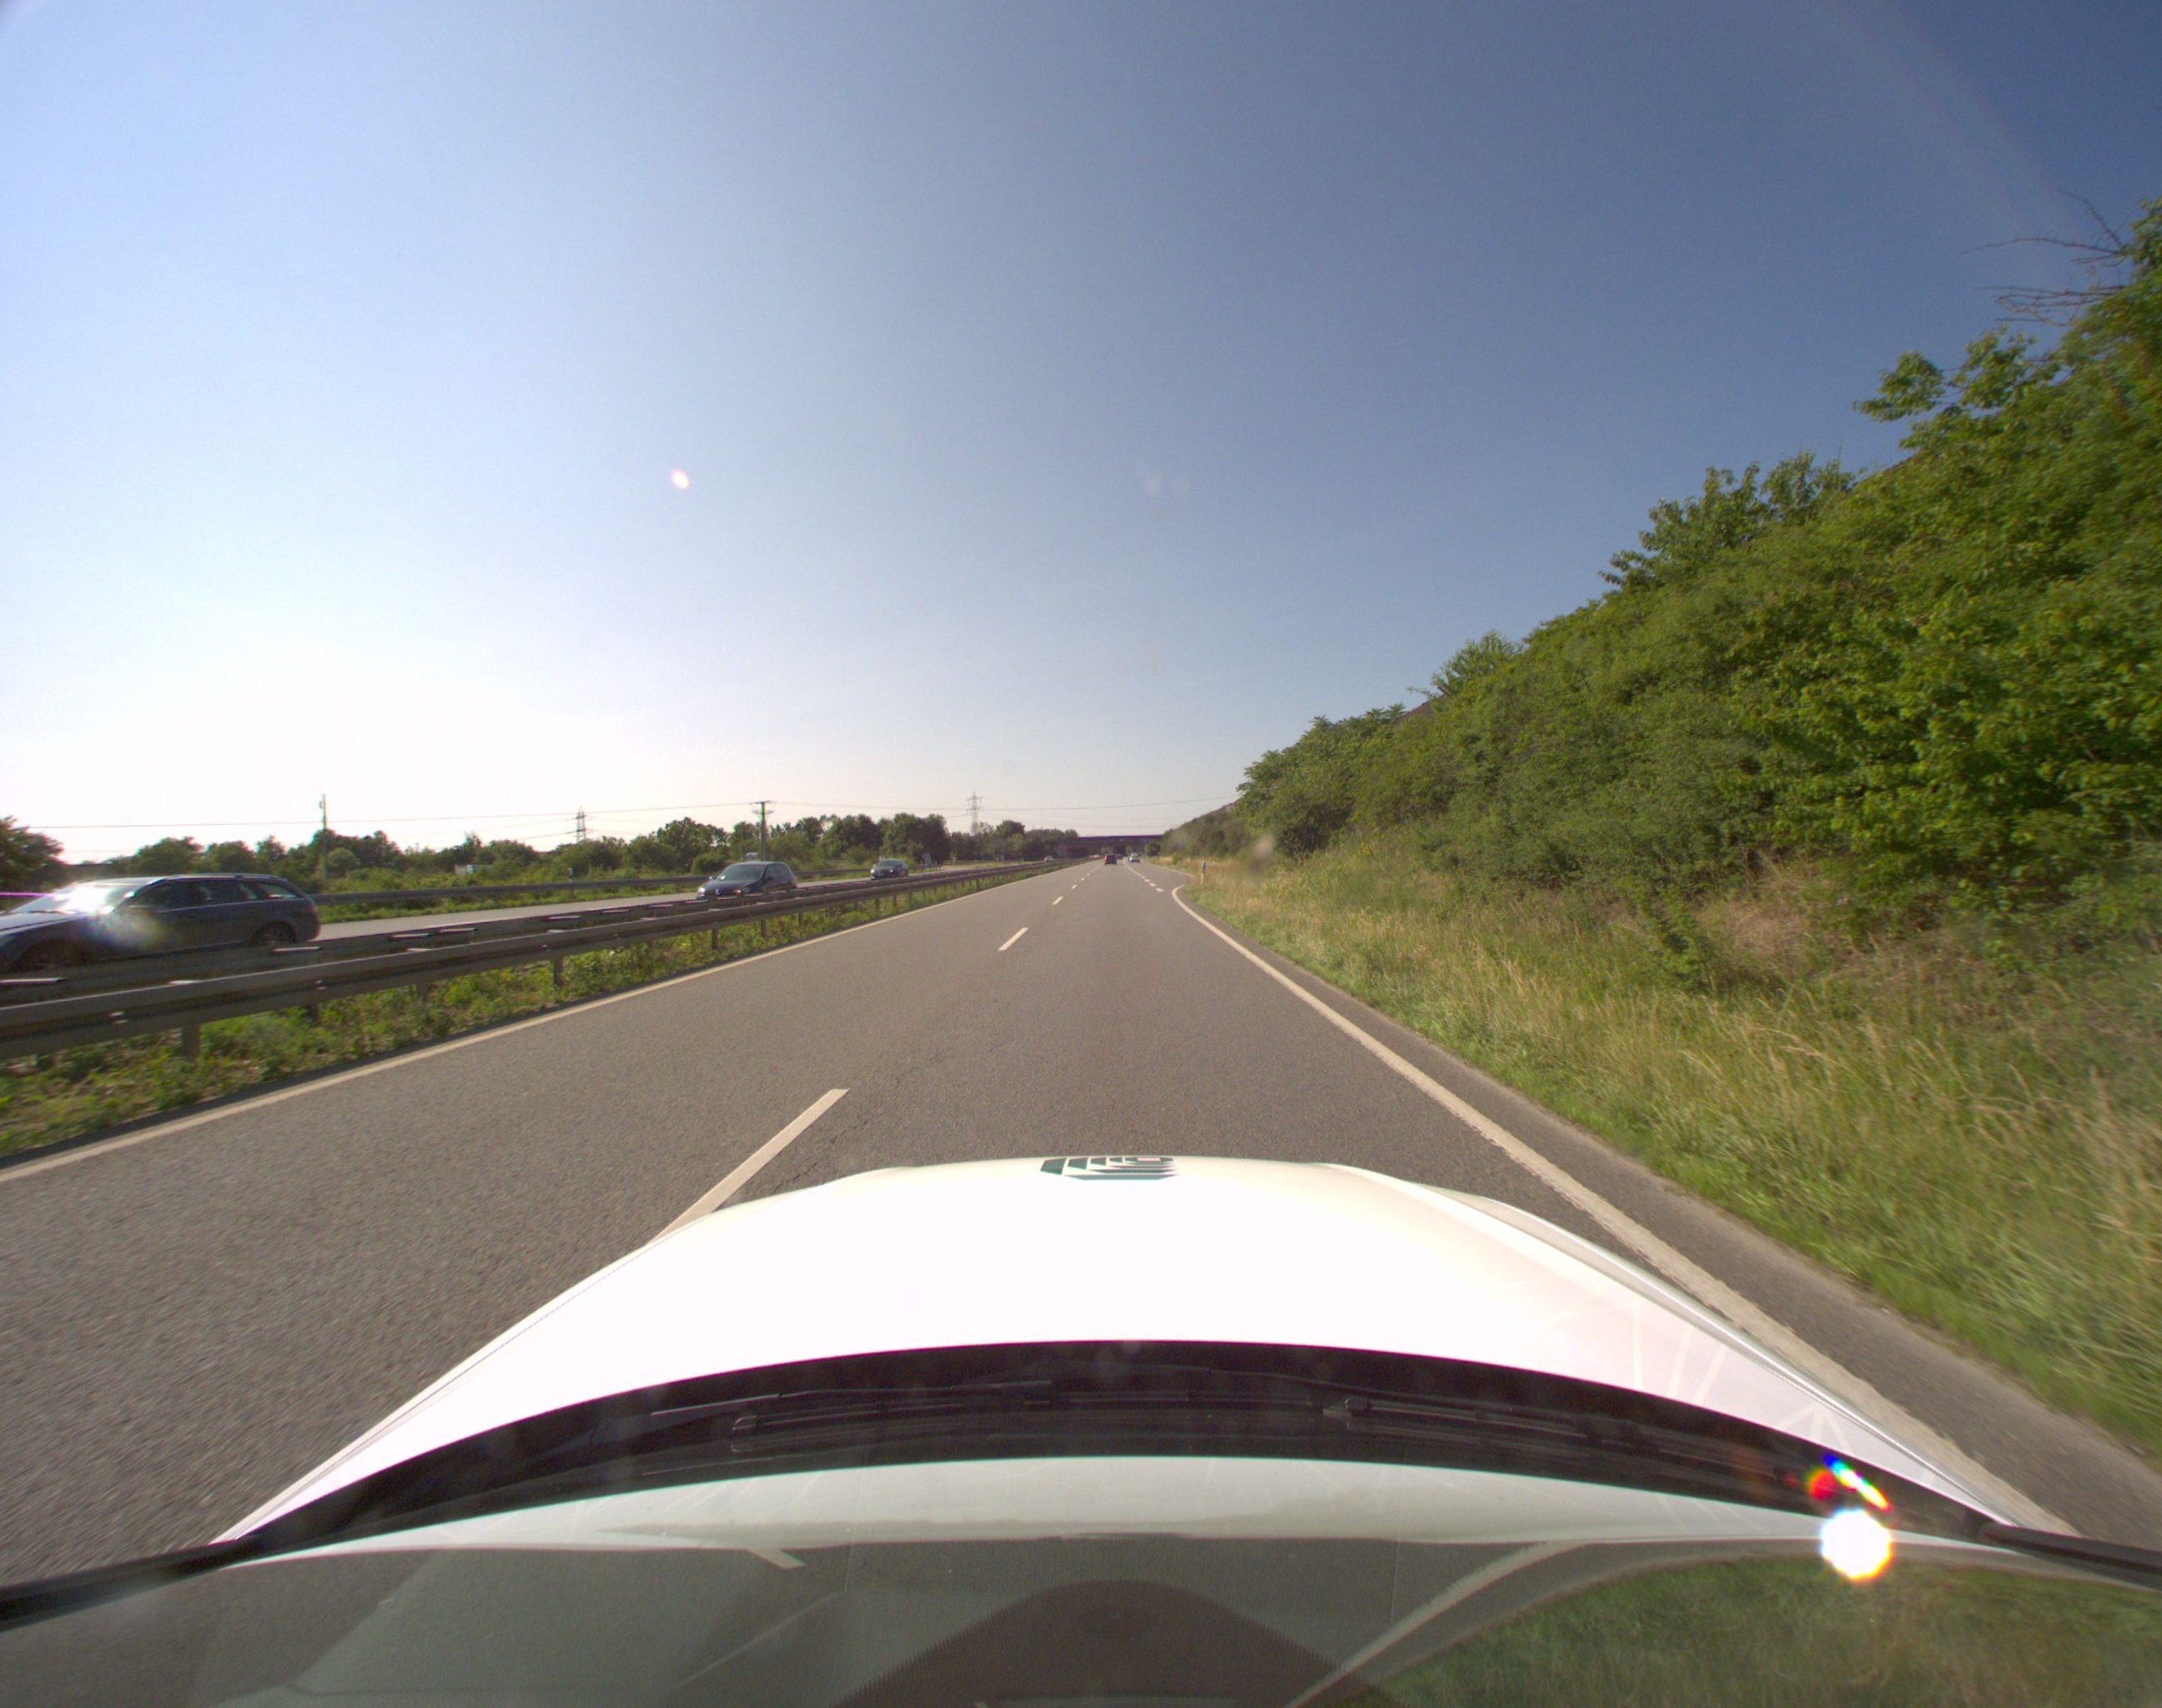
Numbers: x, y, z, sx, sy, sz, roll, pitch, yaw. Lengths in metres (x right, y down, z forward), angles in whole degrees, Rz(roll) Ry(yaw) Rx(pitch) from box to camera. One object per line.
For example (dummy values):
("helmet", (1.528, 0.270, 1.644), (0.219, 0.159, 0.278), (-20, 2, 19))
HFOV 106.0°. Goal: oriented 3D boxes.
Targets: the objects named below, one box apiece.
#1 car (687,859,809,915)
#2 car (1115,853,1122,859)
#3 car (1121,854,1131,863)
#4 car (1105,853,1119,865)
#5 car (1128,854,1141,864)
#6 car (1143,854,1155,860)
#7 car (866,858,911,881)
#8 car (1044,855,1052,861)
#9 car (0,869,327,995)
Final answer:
("car", (-10.014, 0.932, 24.866), (1.808, 1.473, 4.325), (0, 0, 2))
("car", (10.200, 0.524, 221.905), (1.841, 1.644, 4.005), (-1, 0, 5))
("car", (9.776, 0.959, 177.646), (1.986, 2.013, 4.002), (-3, 0, 2))
("car", (4.586, 0.710, 121.412), (1.841, 1.644, 4.005), (-1, 0, 5))
("car", (9.468, 0.879, 143.723), (1.784, 1.665, 4.014), (1, 0, 13))
("car", (15.686, 0.599, 188.233), (1.887, 1.297, 4.017), (1, 0, 15))
("car", (-13.239, 1.049, 56.292), (1.861, 1.434, 4.935), (1, 0, 1))
("car", (-7.810, 0.917, 192.473), (1.694, 1.485, 4.622), (1, 0, 2))
("car", (-14.062, 1.012, 12.060), (1.707, 1.450, 4.324), (-1, 0, 1))
